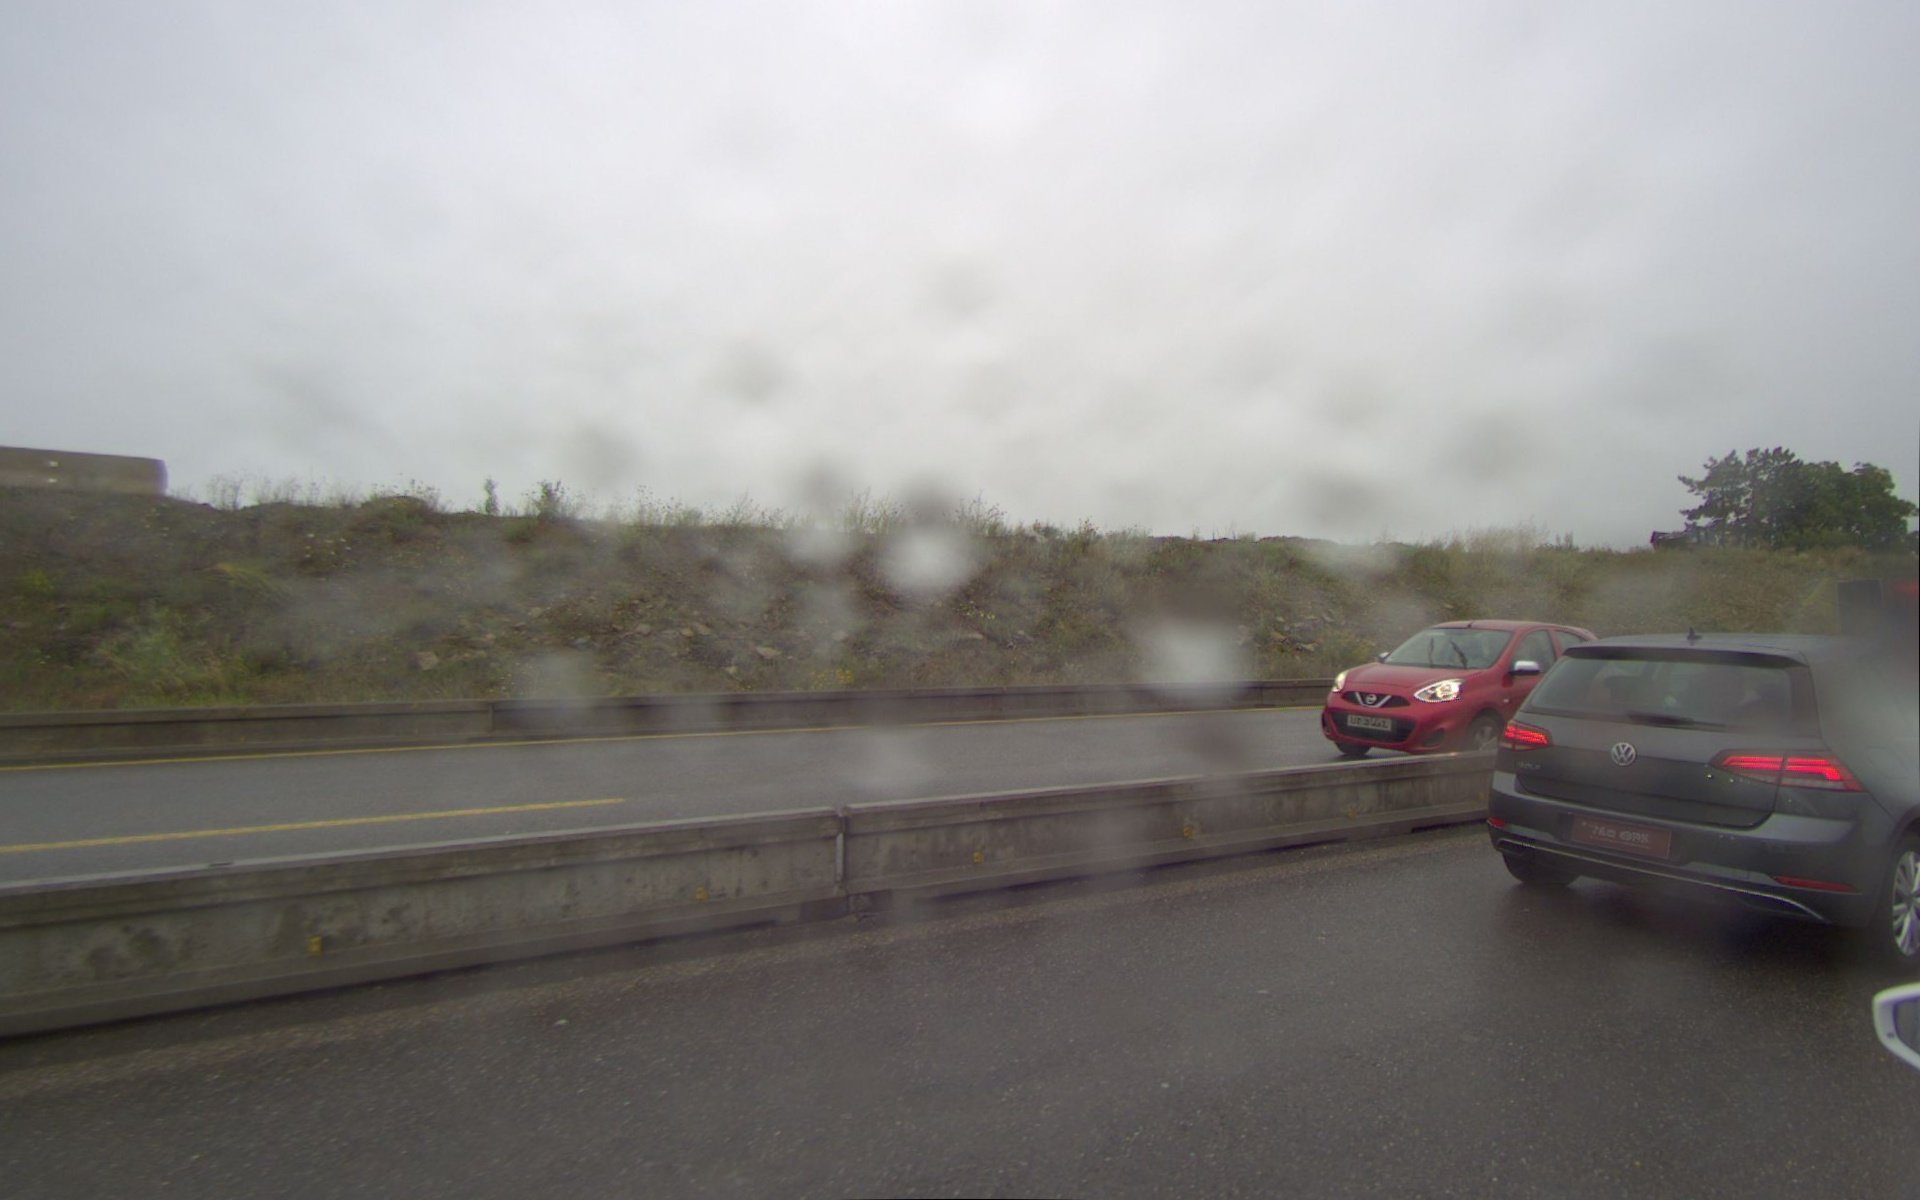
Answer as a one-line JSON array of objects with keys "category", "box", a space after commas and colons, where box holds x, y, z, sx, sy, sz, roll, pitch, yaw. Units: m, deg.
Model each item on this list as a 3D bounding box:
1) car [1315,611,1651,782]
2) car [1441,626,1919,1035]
[{"category": "car", "box": [5.899, 0.981, 11.251, 3.680, 1.598, 1.717, 2, -1, -32]}, {"category": "car", "box": [4.735, 0.938, 5.550, 4.316, 1.526, 1.607, 2, -2, -30]}]
